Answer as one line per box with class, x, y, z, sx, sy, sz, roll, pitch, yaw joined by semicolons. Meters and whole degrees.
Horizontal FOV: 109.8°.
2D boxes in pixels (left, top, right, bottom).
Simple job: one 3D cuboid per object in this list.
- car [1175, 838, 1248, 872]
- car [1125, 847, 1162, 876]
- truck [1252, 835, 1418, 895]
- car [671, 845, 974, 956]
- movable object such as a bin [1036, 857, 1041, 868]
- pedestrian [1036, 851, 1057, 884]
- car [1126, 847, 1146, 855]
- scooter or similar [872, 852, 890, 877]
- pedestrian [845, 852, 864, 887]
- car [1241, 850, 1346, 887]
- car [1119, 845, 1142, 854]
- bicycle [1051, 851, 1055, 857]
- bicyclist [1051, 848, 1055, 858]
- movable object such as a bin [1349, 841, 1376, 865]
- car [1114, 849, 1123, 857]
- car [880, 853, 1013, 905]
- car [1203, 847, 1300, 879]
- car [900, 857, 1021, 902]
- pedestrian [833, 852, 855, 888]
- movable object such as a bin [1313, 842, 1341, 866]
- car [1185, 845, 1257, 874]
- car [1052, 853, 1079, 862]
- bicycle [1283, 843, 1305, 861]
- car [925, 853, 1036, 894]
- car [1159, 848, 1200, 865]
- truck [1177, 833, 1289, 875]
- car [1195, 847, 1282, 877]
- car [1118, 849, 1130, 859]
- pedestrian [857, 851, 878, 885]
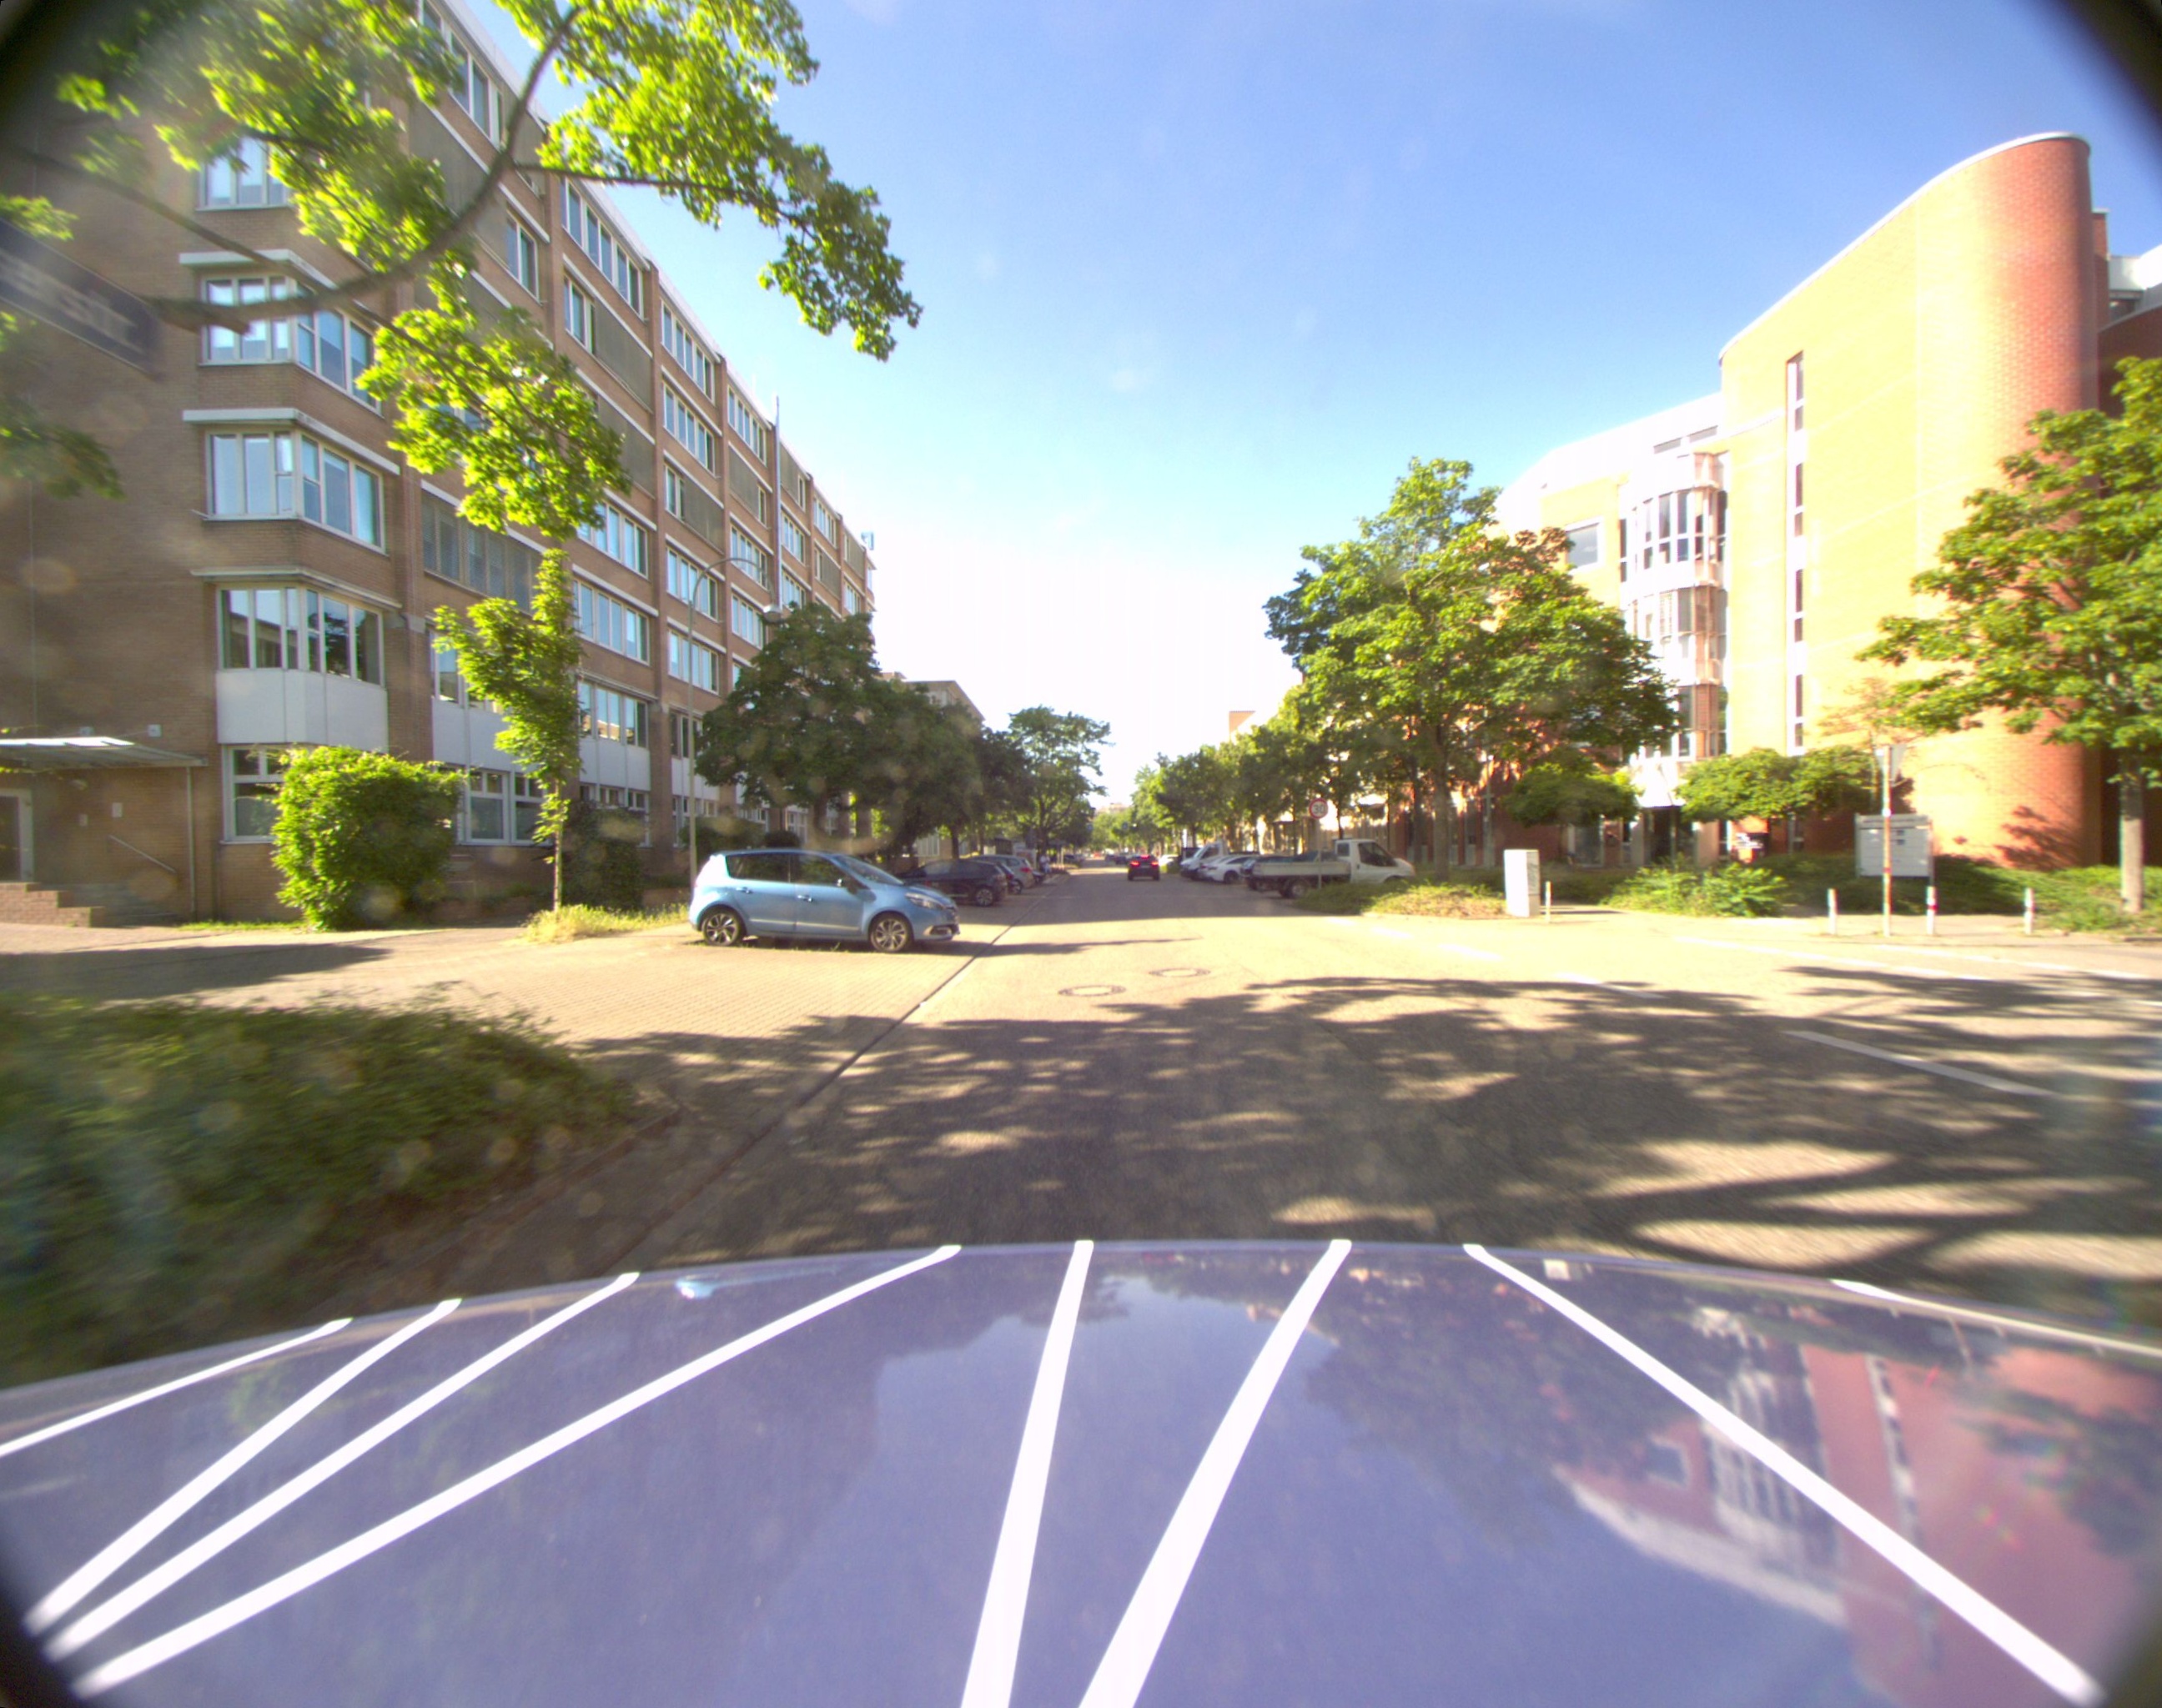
car;8.680;0.076;50.867;4.493;2.040;1.999;-3;1;-1
car;3.861;0.429;47.517;1.897;1.674;4.352;-1;1;-1
truck;8.550;0.371;25.928;4.996;1.948;2.138;0;0;3
car;-4.188;0.731;12.854;4.416;1.609;1.912;2;1;0
movable object such as a bin;-2.953;0.560;53.057;0.299;0.749;0.467;1;1;1
pedestrian;-1.820;0.687;40.115;0.921;1.701;0.697;2;0;-12
car;11.284;-0.667;155.605;4.003;1.411;1.618;-2;1;0
scooter or similar;-11.244;0.583;42.729;0.550;1.318;1.805;-3;1;-4
pedestrian;-9.753;0.668;32.727;0.604;1.512;0.594;0;1;-2
car;8.905;0.587;32.083;3.995;1.427;1.790;-1;1;5
car;11.613;-1.053;177.993;5.317;1.876;2.000;0;1;2
bicycle;-4.782;-0.029;128.625;0.535;1.072;1.920;-1;1;2
bicyclist;-4.787;-0.201;128.605;0.538;1.627;0.822;-1;1;2
movable object such as a bin;18.530;-0.081;50.046;1.149;1.554;1.243;-1;1;-11
car;7.420;-0.294;150.674;1.784;1.503;4.000;-1;1;1
car;-4.131;0.773;23.891;3.857;1.475;1.824;1;0;-2
car;8.778;0.468;39.464;4.553;1.433;1.890;-3;0;-1
car;-4.053;0.849;25.902;3.809;1.400;1.702;1;0;0
pedestrian;-10.161;0.693;32.618;0.758;1.543;0.559;0;1;-2
movable object such as a bin;18.280;0.003;56.564;1.602;1.786;1.664;-1;1;3
car;8.798;0.327;47.949;4.117;1.652;2.000;-3;1;1
car;-2.459;0.558;117.462;4.126;1.363;1.654;1;1;-2
bicycle;17.844;-0.145;63.732;1.731;1.401;0.613;-3;1;-22
car;-4.079;0.787;31.203;4.365;1.588;1.938;0;0;-5
car;9.674;0.210;74.948;3.764;1.444;1.754;-3;0;1
truck;8.984;-0.020;45.363;6.247;2.408;2.187;0;1;1
car;8.773;0.425;42.632;4.438;1.478;2.000;-2;1;0
car;6.407;-0.049;113.774;1.648;1.412;4.000;-1;1;1
pedestrian;-9.216;0.584;32.744;0.702;1.449;0.715;0;1;-2
